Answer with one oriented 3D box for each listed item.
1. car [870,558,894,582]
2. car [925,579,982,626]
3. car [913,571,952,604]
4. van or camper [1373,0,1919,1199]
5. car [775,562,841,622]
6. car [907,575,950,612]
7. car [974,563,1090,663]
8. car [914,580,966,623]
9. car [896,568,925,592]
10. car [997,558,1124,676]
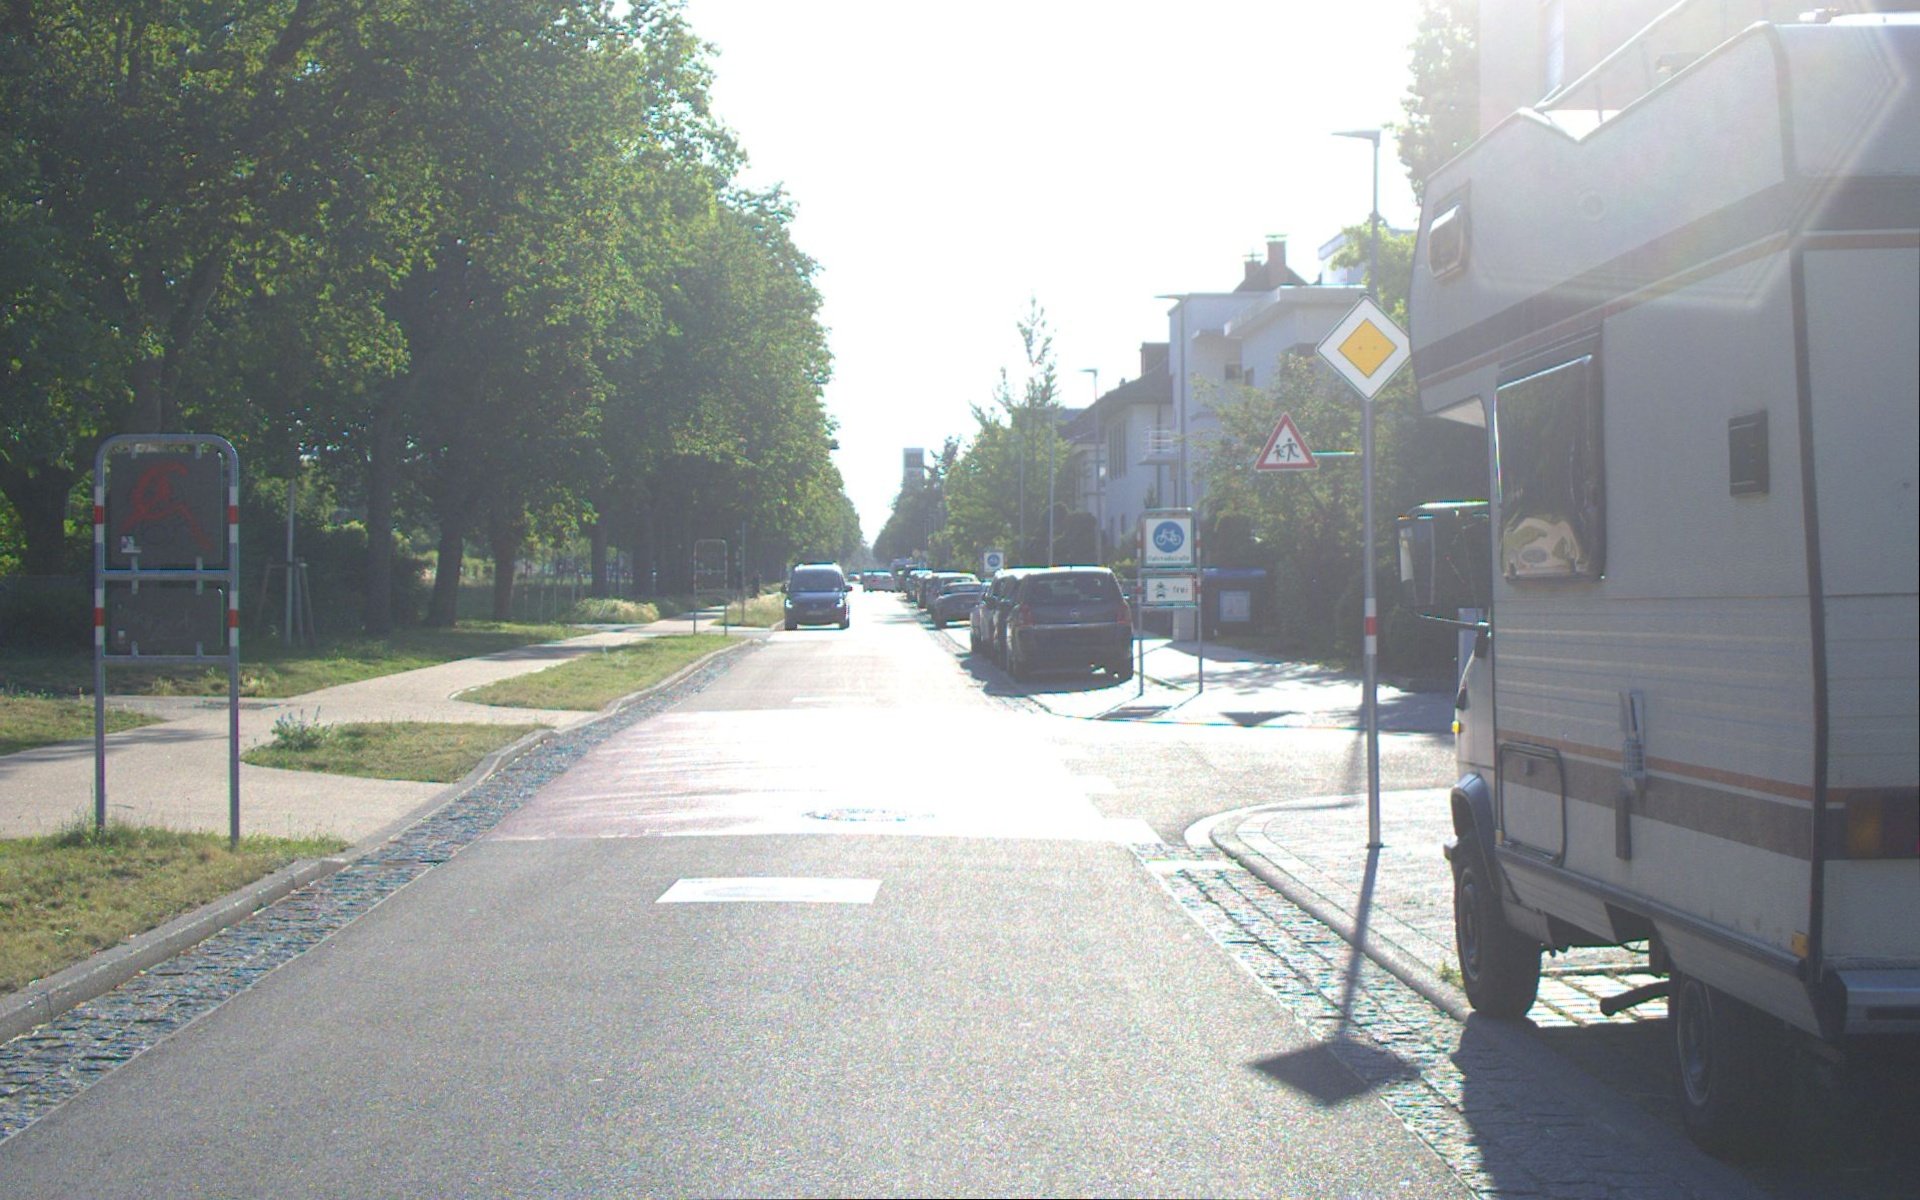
[{"bbox_3d":[-5.521,-2.109,243.453,1.626,1.663,4.249,0,0,-2],"label":"car"},{"bbox_3d":[-0.213,0.073,104.386,1.626,1.405,4.249,0,0,-2],"label":"car"},{"bbox_3d":[-1.234,-0.556,152.171,1.626,1.405,4.249,0,0,-2],"label":"car"},{"bbox_3d":[2.684,-0.073,9.416,2.234,2.894,5.673,0,-1,-2],"label":"van or camper"},{"bbox_3d":[-4.333,-0.222,98.393,1.825,1.663,4.249,0,0,-2],"label":"car"},{"bbox_3d":[-1.266,-0.255,135.865,1.626,1.405,4.249,0,0,-2],"label":"car"},{"bbox_3d":[1.296,0.222,61.613,1.993,1.711,4.000,0,0,1],"label":"car"},{"bbox_3d":[-0.685,0.054,115.637,1.626,1.405,4.249,0,0,-2],"label":"car"},{"bbox_3d":[-2.969,-1.189,204.457,1.626,1.405,4.249,0,0,-2],"label":"car"},{"bbox_3d":[1.451,0.232,50.847,1.626,1.663,4.249,0,0,-2],"label":"car"}]
